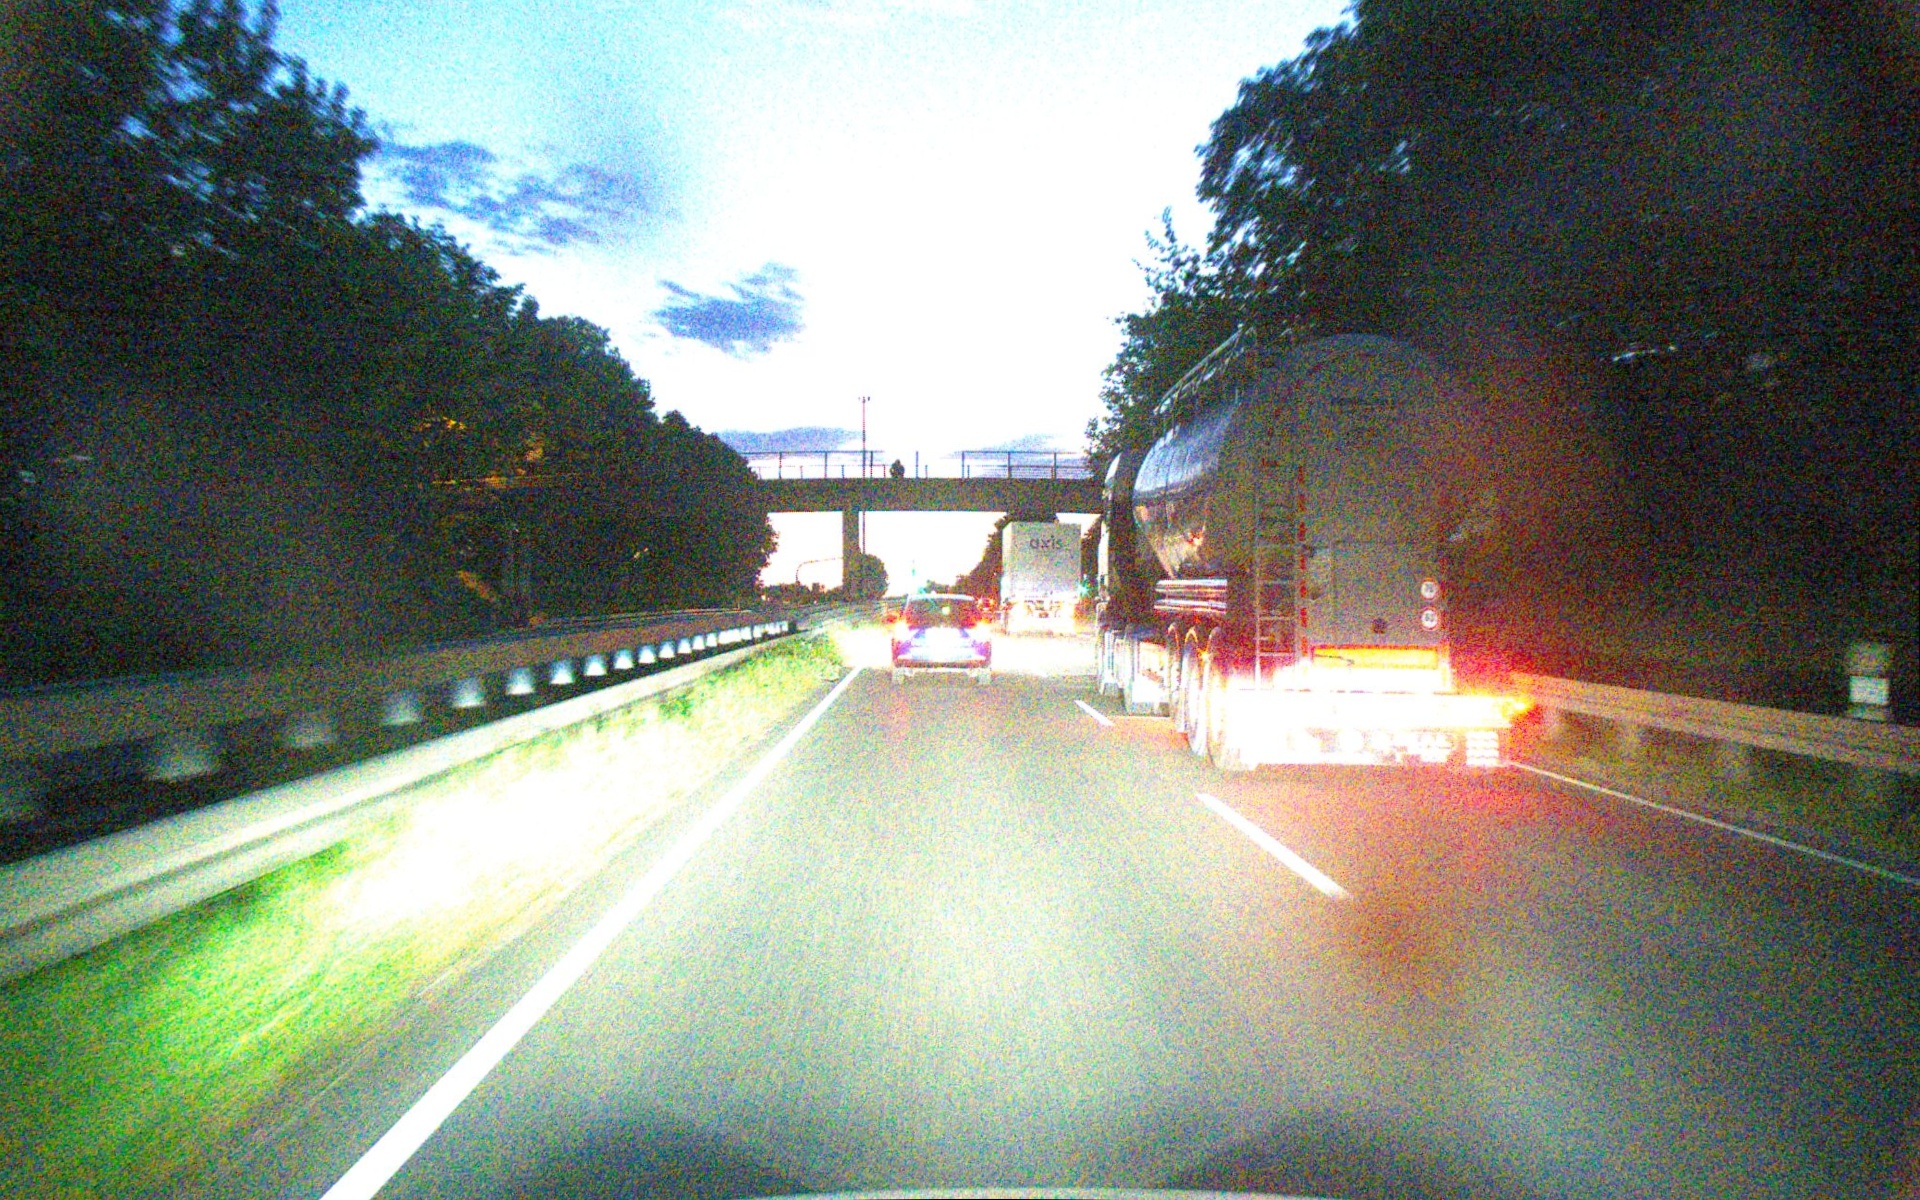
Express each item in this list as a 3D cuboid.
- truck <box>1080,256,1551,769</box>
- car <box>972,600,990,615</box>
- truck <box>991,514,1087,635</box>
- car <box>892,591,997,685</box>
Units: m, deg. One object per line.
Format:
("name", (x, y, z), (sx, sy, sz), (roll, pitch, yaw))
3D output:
("truck", (3.408, -0.697, 20.177), (2.633, 4.178, 13.137), (1, 0, -1))
("car", (2.191, 0.750, 172.444), (1.661, 1.478, 3.913), (1, 0, -1))
("truck", (2.882, -0.880, 64.401), (2.824, 4.178, 12.680), (1, 0, -1))
("car", (-0.288, 0.611, 28.423), (1.661, 1.478, 3.913), (1, 0, -1))
